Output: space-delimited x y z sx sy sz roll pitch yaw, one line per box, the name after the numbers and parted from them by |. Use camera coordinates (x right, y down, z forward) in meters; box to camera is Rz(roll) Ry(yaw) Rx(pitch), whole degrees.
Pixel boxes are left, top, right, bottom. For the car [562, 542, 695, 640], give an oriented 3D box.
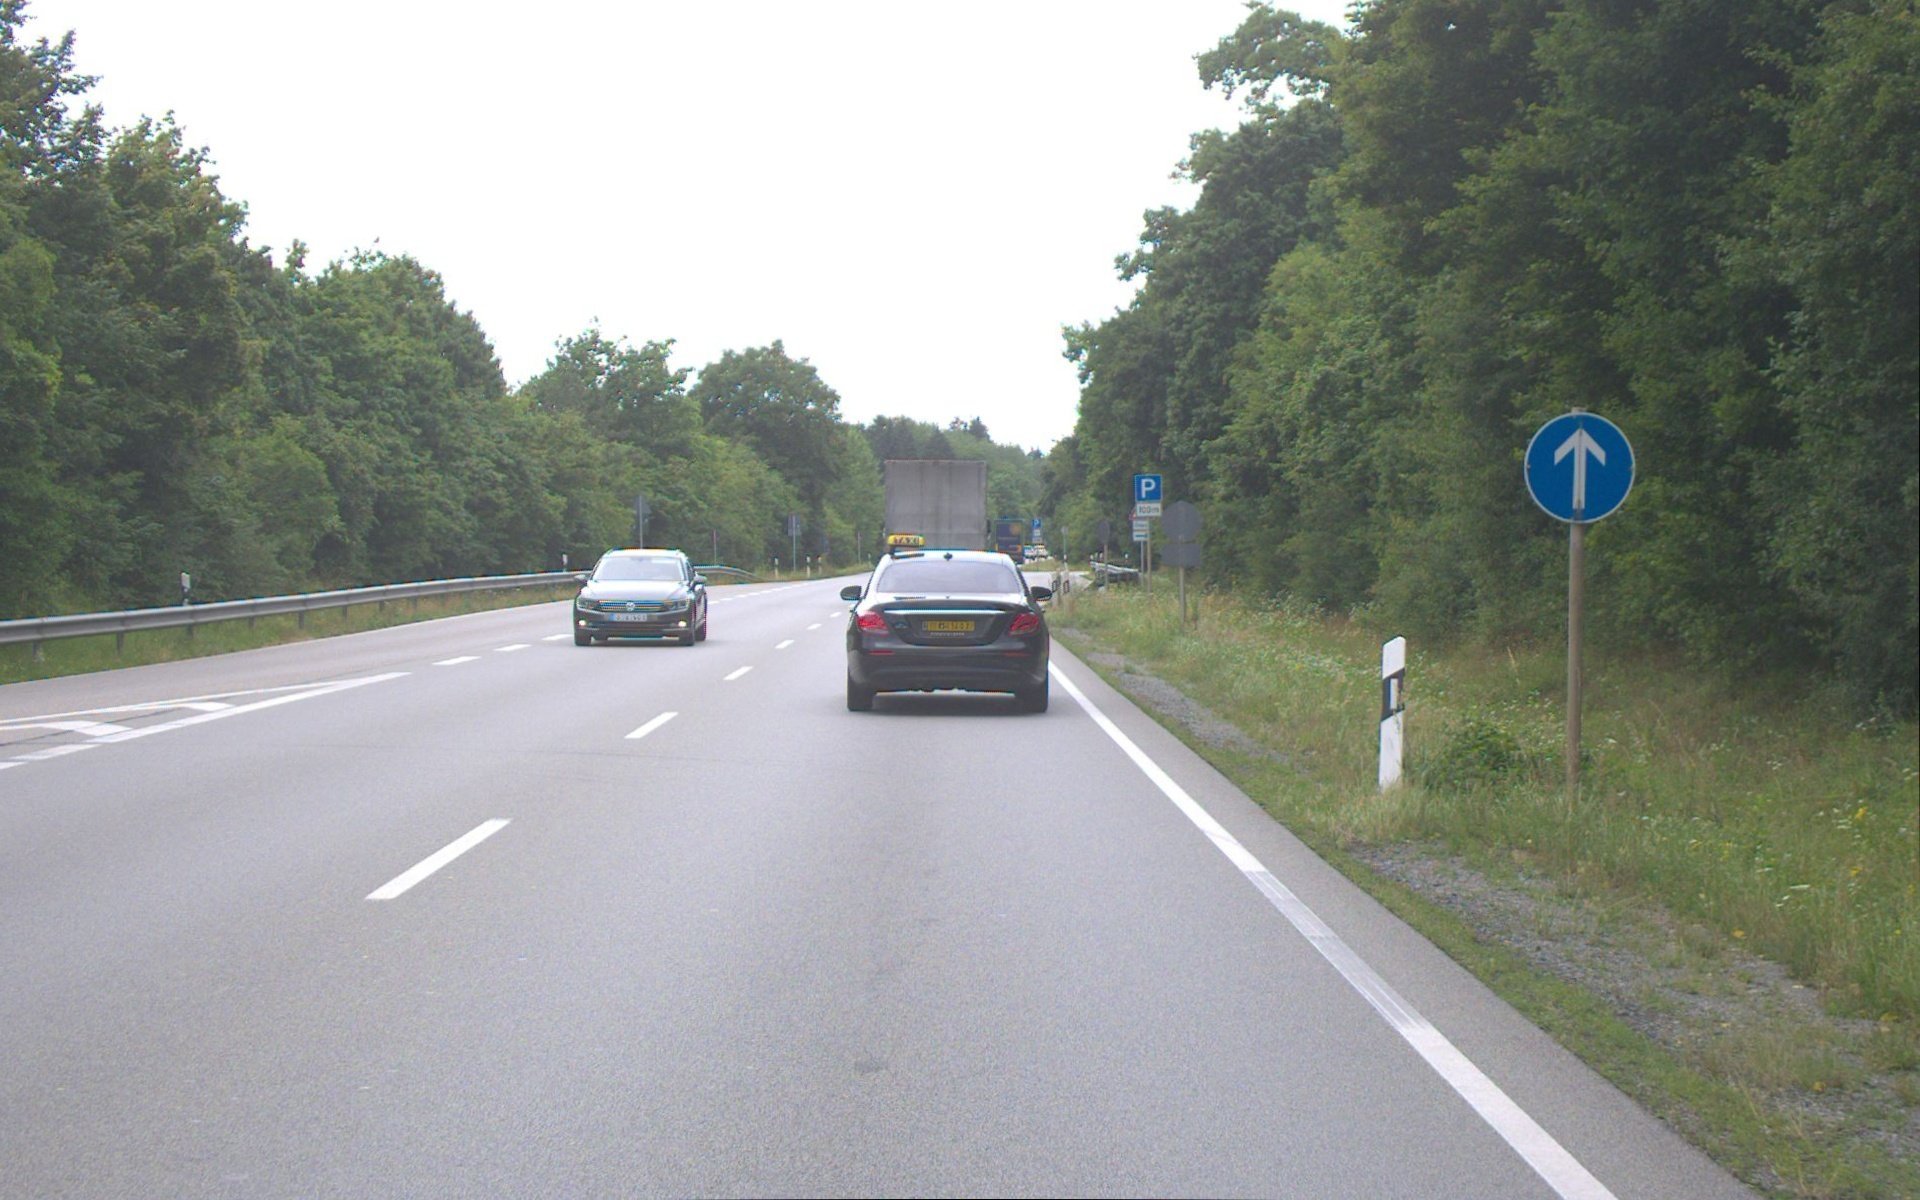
-5.114 -0.168 53.477 1.808 1.437 4.448 1 1 -2 | car

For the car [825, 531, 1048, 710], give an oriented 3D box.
-0.282 0.146 31.974 1.791 1.546 4.001 1 1 -4 | car

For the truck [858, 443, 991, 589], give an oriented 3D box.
-0.907 -2.181 91.306 3.281 3.599 11.400 1 1 0 | truck
